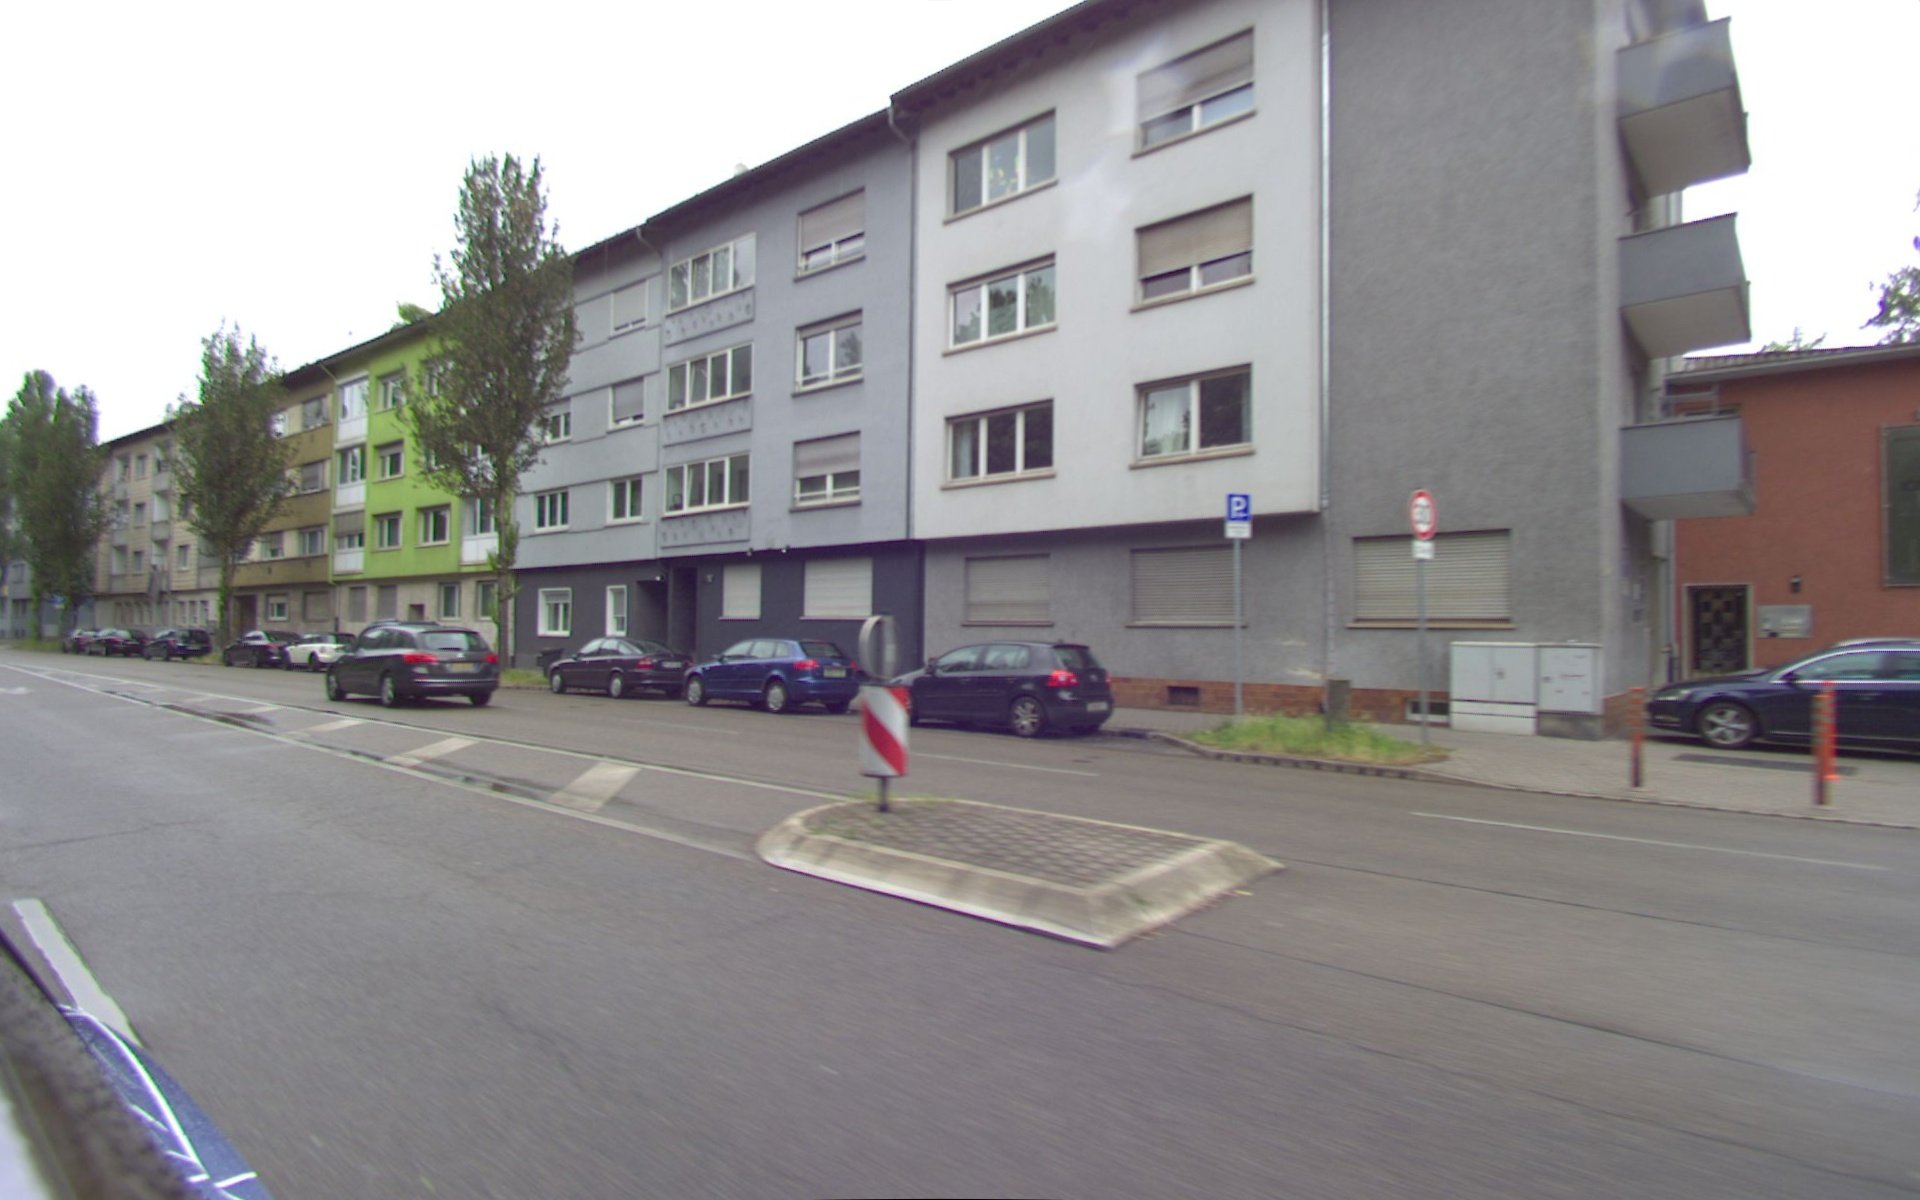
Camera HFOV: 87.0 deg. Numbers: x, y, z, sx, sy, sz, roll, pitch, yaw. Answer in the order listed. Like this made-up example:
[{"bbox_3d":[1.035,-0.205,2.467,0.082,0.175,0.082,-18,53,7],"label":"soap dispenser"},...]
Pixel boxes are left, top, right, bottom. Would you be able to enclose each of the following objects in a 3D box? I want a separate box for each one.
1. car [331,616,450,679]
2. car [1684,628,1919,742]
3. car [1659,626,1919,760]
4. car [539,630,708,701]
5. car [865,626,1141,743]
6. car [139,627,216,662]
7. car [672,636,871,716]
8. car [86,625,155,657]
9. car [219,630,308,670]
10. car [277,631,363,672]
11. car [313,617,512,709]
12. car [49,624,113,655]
[{"bbox_3d":[-18.261,1.464,32.406,4.311,1.884,1.881,-1,-2,40],"label":"car"},{"bbox_3d":[13.252,1.220,14.795,4.226,1.537,1.712,-1,-3,40],"label":"car"},{"bbox_3d":[11.678,1.131,12.705,4.631,1.497,1.832,0,0,40],"label":"car"},{"bbox_3d":[-7.962,1.504,23.774,4.311,1.492,1.704,-1,-5,40],"label":"car"},{"bbox_3d":[0.607,1.248,16.349,4.245,1.556,1.828,-1,0,41],"label":"car"},{"bbox_3d":[-35.828,2.041,46.293,3.995,1.524,1.845,-1,-3,39],"label":"car"},{"bbox_3d":[-3.778,1.460,20.009,3.923,1.394,1.704,-1,-5,40],"label":"car"},{"bbox_3d":[-42.926,2.105,51.733,4.168,1.579,1.845,-1,-3,39],"label":"car"},{"bbox_3d":[-26.795,1.906,38.871,4.247,1.356,1.528,-1,-4,38],"label":"car"},{"bbox_3d":[-22.677,1.833,35.847,3.444,1.388,1.528,-2,-4,39],"label":"car"},{"bbox_3d":[-10.323,1.159,18.961,4.286,1.527,1.793,-2,-5,40],"label":"car"},{"bbox_3d":[-48.094,2.156,55.335,4.168,1.612,1.845,-1,-3,39],"label":"car"}]
